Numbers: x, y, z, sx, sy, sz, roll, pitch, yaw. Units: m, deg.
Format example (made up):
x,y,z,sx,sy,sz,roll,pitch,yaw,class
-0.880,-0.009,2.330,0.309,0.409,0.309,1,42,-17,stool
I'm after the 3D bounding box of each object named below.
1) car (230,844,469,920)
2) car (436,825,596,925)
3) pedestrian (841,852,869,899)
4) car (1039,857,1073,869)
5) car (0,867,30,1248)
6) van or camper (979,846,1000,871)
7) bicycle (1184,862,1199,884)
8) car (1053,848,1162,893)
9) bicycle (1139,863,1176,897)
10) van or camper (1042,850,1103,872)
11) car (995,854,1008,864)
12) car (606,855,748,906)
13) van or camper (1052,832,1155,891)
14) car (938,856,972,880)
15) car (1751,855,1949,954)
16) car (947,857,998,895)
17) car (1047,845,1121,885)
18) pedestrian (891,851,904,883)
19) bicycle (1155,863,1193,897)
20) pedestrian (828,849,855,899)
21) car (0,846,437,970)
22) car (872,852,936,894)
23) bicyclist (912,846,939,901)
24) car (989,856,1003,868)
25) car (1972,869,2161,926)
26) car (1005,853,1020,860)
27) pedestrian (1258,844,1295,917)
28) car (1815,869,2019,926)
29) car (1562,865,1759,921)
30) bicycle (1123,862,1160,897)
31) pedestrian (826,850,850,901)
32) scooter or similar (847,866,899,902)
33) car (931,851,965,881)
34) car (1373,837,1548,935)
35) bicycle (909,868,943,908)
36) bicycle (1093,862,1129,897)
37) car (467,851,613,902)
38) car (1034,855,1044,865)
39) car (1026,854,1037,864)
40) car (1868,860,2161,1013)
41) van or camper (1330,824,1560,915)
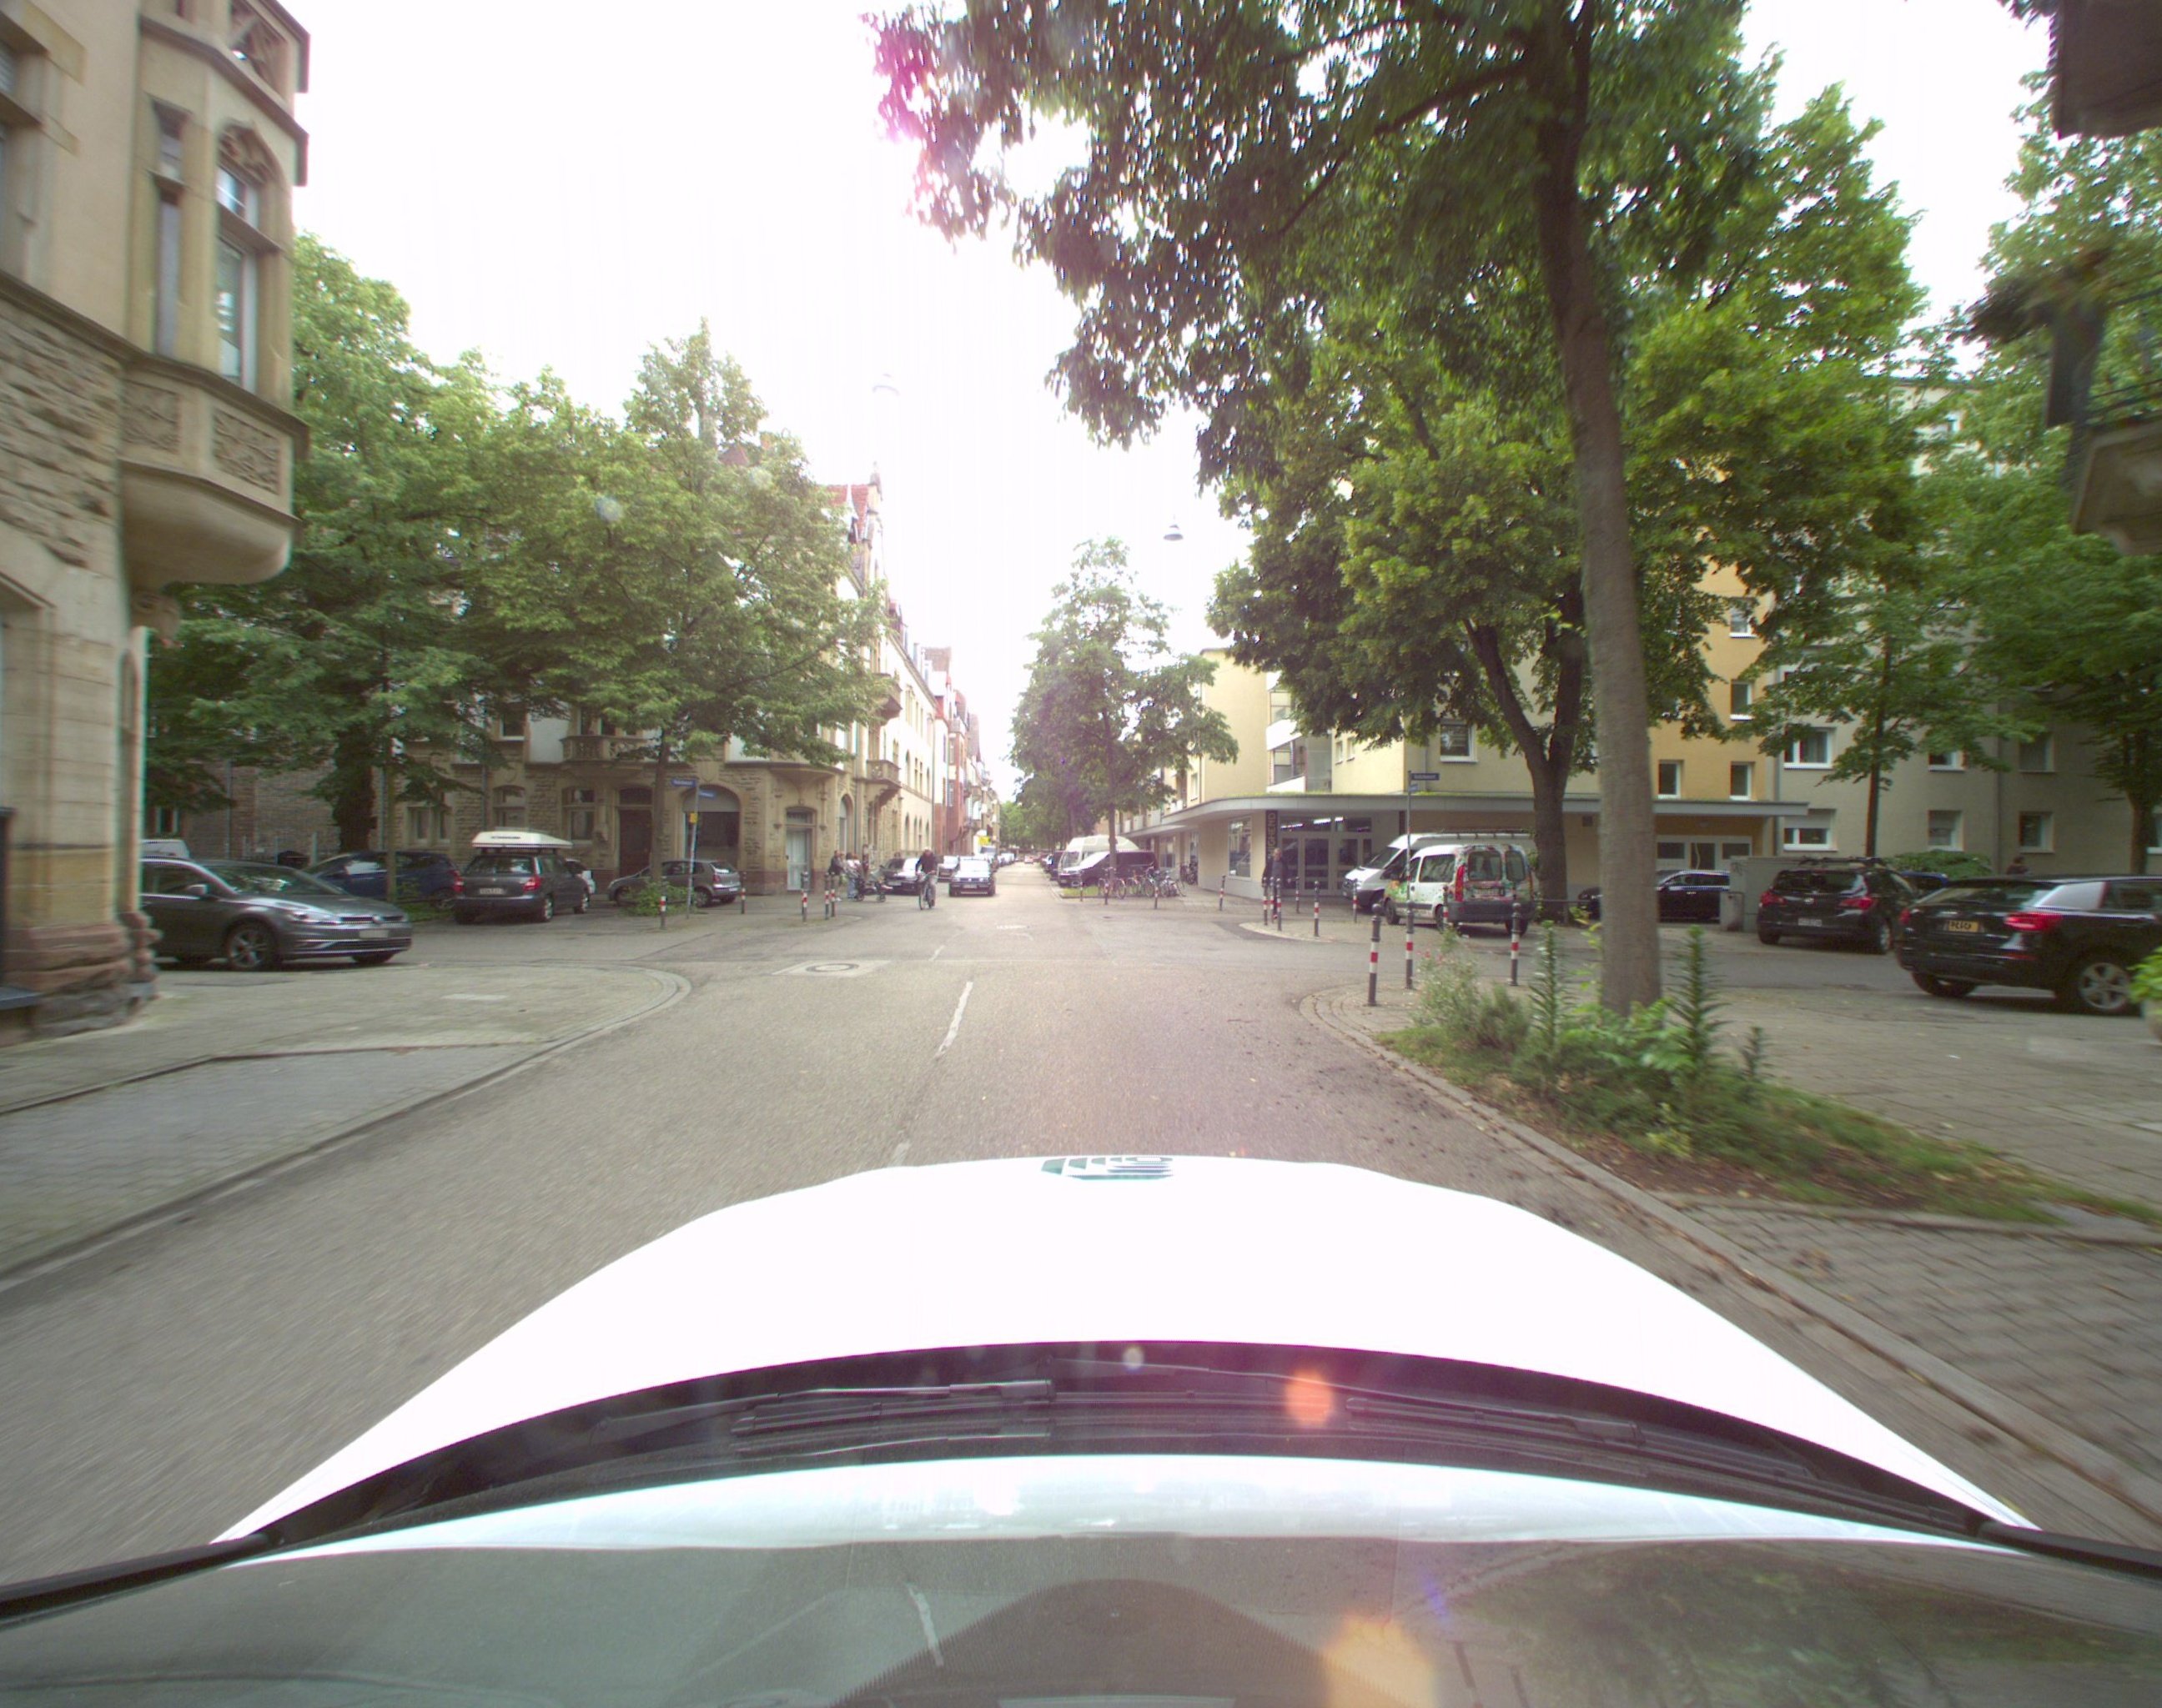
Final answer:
x,y,z,sx,sy,sz,roll,pitch,yaw,class
-16.139,0.560,18.157,1.633,1.516,3.635,0,0,32,car
-12.334,0.417,18.091,1.832,1.968,3.937,0,0,-18,car
-7.808,0.721,28.127,0.623,1.593,0.674,1,0,37,pedestrian
-3.242,1.175,106.033,4.039,1.559,1.864,1,-1,-35,car
-4.816,0.750,1.125,1.723,1.434,3.877,2,0,-3,car
-10.392,0.483,92.575,2.004,2.651,5.310,0,1,-3,van or camper
5.690,0.976,41.891,0.483,1.090,1.700,0,0,-1,bicycle
1.170,0.686,35.085,4.357,1.854,1.893,0,0,-29,car
2.740,0.915,29.346,0.551,1.173,1.714,0,0,-25,bicycle
-0.754,0.599,73.123,5.039,1.869,2.106,-1,0,-31,van or camper
-12.871,0.823,131.874,1.989,1.475,3.995,0,0,-4,car
-12.438,0.811,25.191,3.551,1.460,1.652,0,2,5,car
1.082,0.343,38.152,4.617,2.596,1.890,0,0,-36,van or camper
-7.863,0.909,51.139,1.722,1.387,3.924,2,-1,-3,car
14.176,0.831,14.972,3.966,1.581,1.668,0,1,-32,car
-4.210,0.862,32.155,1.704,1.413,3.847,0,-1,-3,car
0.218,0.603,46.773,2.040,2.196,4.427,0,0,35,car
-8.819,0.626,39.119,0.514,1.518,0.546,0,0,-4,pedestrian
3.365,0.943,29.637,0.551,1.173,1.684,0,0,-25,bicycle
-8.043,0.670,27.354,0.613,1.643,0.605,1,0,8,pedestrian
-11.366,0.708,10.835,4.253,1.467,1.663,1,-4,3,car
-6.908,0.745,32.133,1.705,1.495,3.996,2,-1,-2,car
-4.368,0.538,22.949,0.646,1.538,0.676,0,0,-1,bicyclist
-11.363,1.026,109.037,1.786,1.480,4.016,2,0,-4,car
26.977,1.143,21.869,3.967,1.418,1.779,0,0,6,car
-17.341,0.676,207.376,1.837,1.645,3.707,3,-2,-45,car
4.902,0.666,20.416,0.777,1.797,0.509,1,0,-2,pedestrian
22.745,1.147,22.290,3.674,1.428,1.635,0,0,8,car
16.153,1.052,22.905,4.144,1.428,1.911,0,0,8,car
2.152,0.889,29.077,0.551,1.173,1.714,0,0,-25,bicycle
-7.973,0.697,26.765,0.525,1.643,0.529,2,0,8,pedestrian
-6.882,0.979,26.974,1.461,1.104,0.677,3,0,8,scooter or similar
-7.616,0.668,46.877,1.643,1.570,2.952,2,1,-4,car
7.758,0.596,17.086,1.765,1.819,3.998,0,0,-1,car
-4.359,0.936,23.024,0.632,1.094,1.798,0,-1,-1,bicycle
1.027,0.877,28.638,0.551,1.173,1.714,0,0,-25,bicycle
-17.004,0.699,25.696,3.473,1.460,1.652,2,-2,5,car
-9.034,1.218,176.163,1.990,2.013,3.994,3,0,-4,car
-9.708,1.005,158.972,1.989,1.794,3.995,2,-1,-3,car
11.531,0.876,9.088,3.806,1.540,1.661,1,-2,3,car
10.467,0.388,23.792,5.748,2.494,2.138,0,3,2,van or camper
